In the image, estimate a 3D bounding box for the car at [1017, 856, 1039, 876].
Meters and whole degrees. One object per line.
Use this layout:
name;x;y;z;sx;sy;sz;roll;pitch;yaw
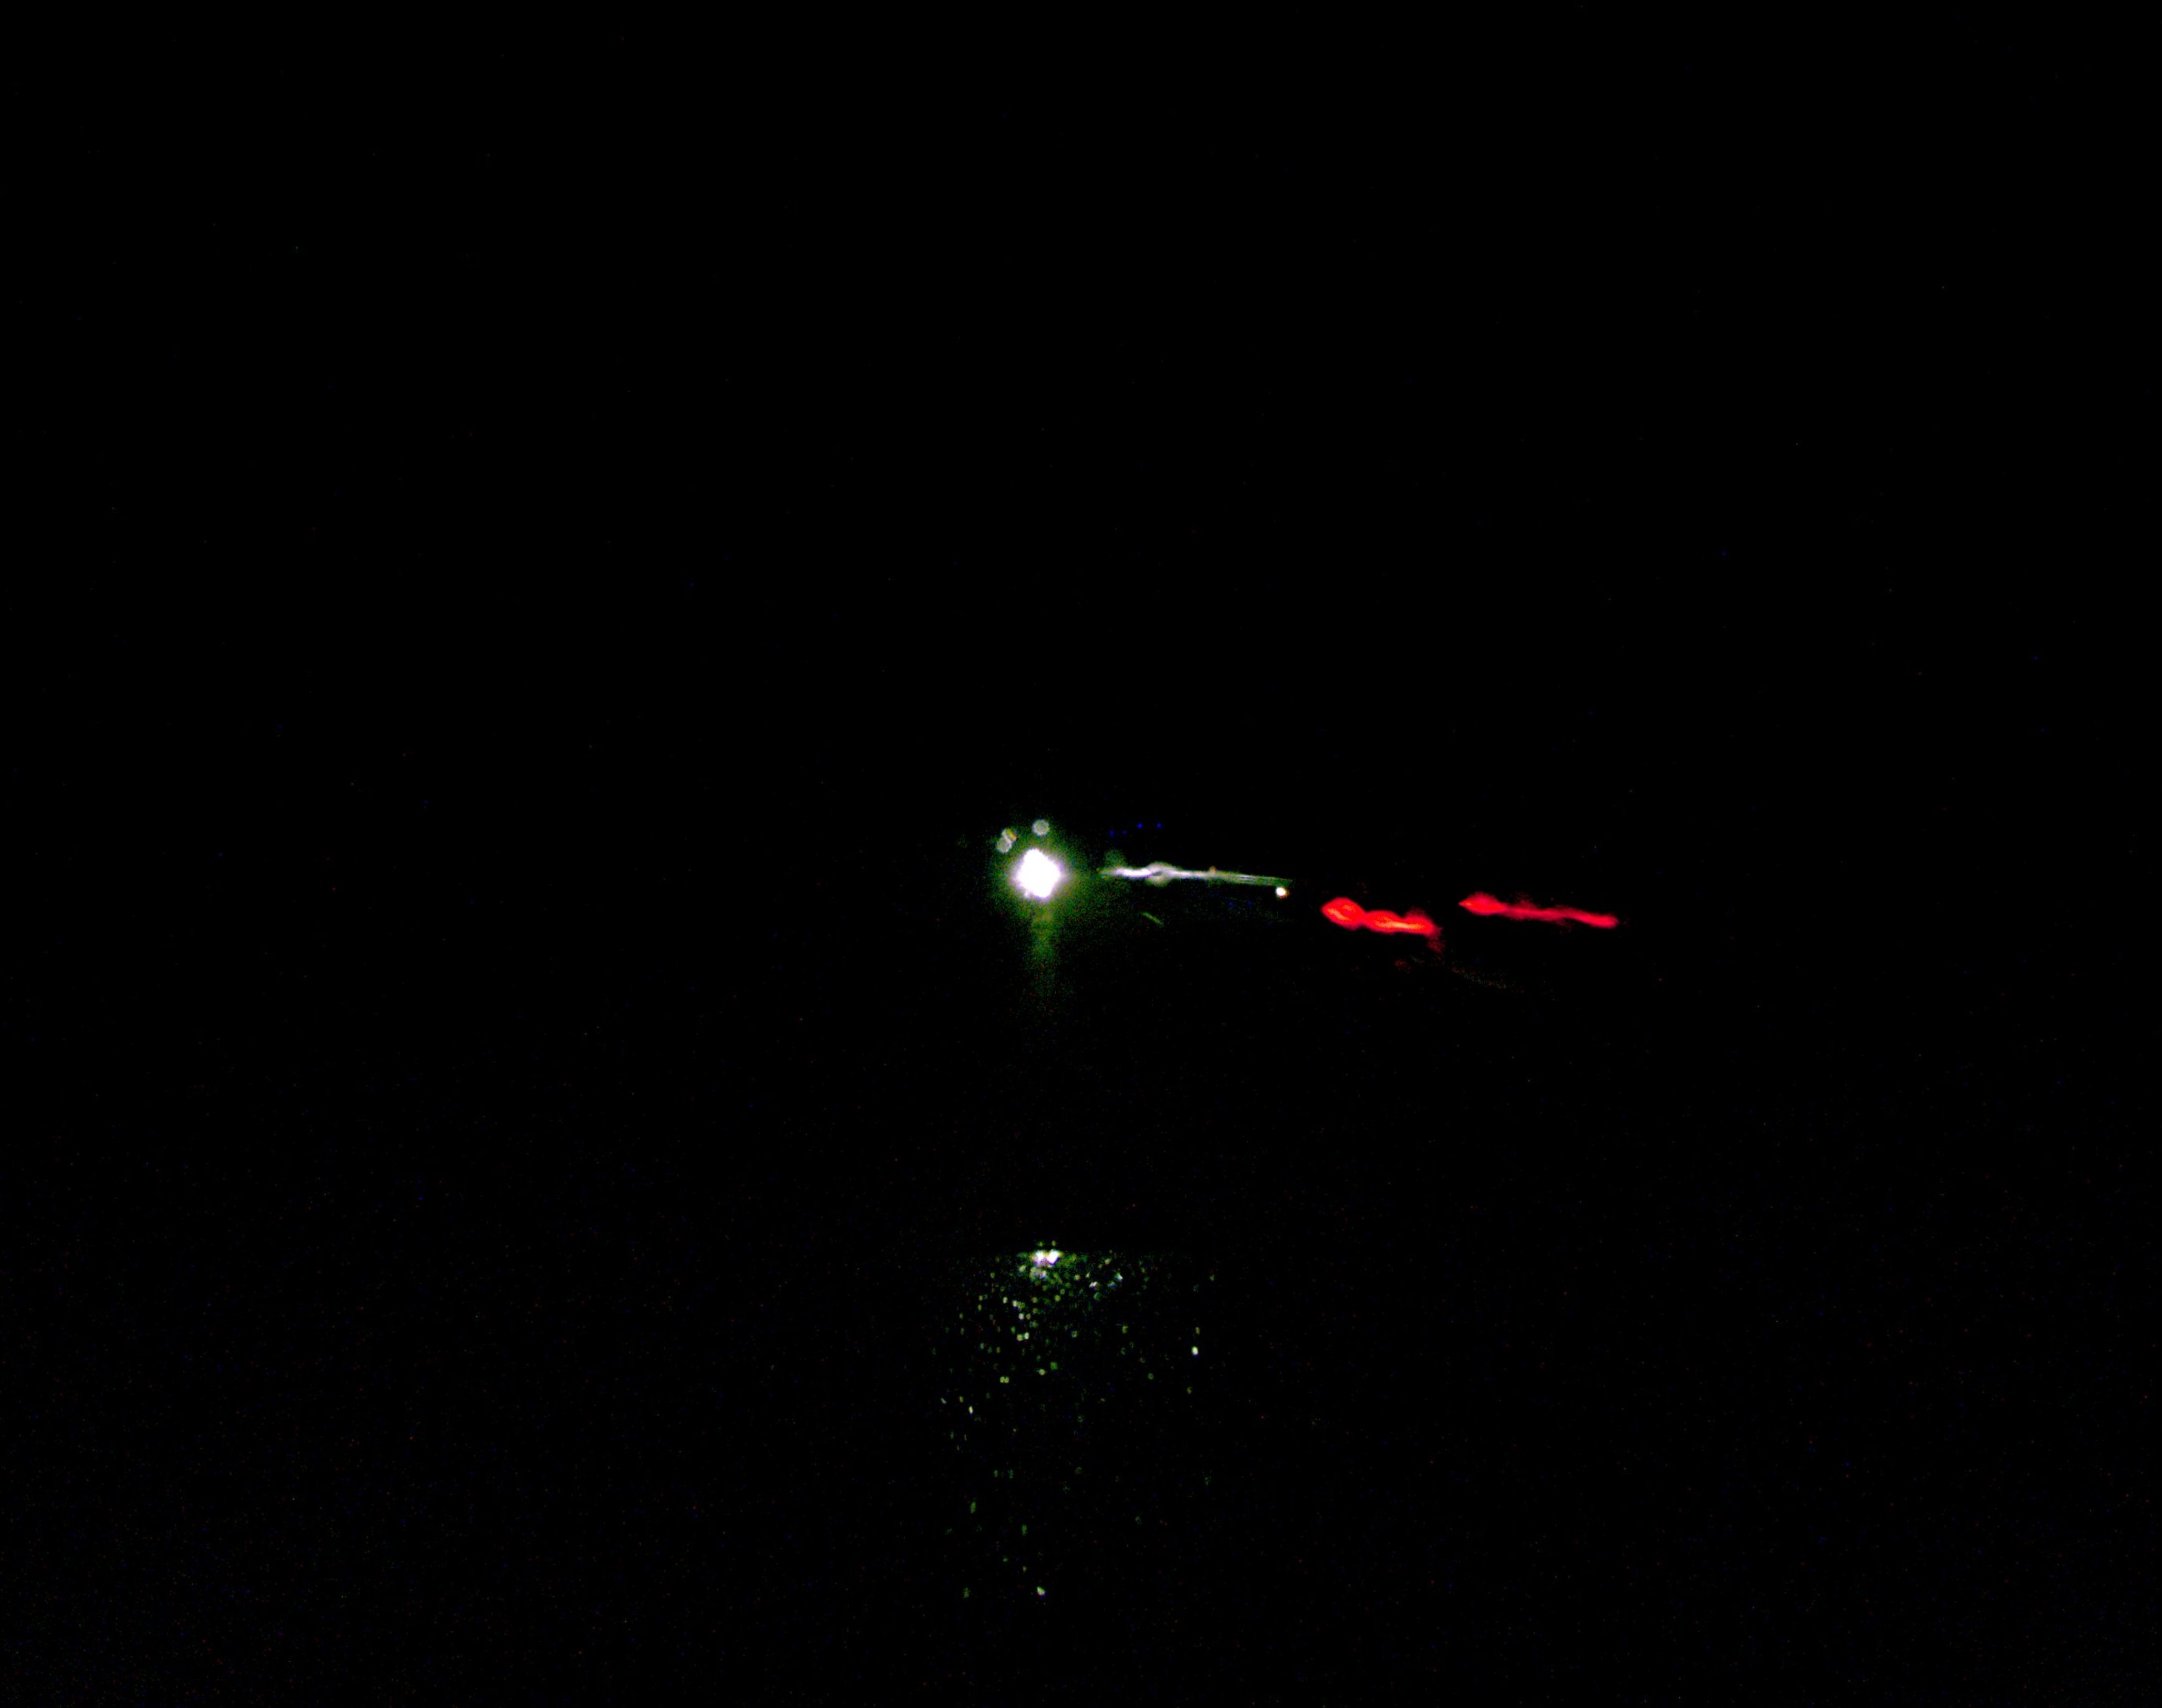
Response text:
car;-5.871;1.341;84.456;2.203;2.001;4.206;-3;-1;-4

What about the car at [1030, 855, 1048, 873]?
car;-5.229;1.251;93.884;1.999;2.002;3.997;-3;2;-5

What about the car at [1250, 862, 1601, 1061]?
car;3.020;0.830;7.634;1.744;1.394;3.860;-2;0;0
